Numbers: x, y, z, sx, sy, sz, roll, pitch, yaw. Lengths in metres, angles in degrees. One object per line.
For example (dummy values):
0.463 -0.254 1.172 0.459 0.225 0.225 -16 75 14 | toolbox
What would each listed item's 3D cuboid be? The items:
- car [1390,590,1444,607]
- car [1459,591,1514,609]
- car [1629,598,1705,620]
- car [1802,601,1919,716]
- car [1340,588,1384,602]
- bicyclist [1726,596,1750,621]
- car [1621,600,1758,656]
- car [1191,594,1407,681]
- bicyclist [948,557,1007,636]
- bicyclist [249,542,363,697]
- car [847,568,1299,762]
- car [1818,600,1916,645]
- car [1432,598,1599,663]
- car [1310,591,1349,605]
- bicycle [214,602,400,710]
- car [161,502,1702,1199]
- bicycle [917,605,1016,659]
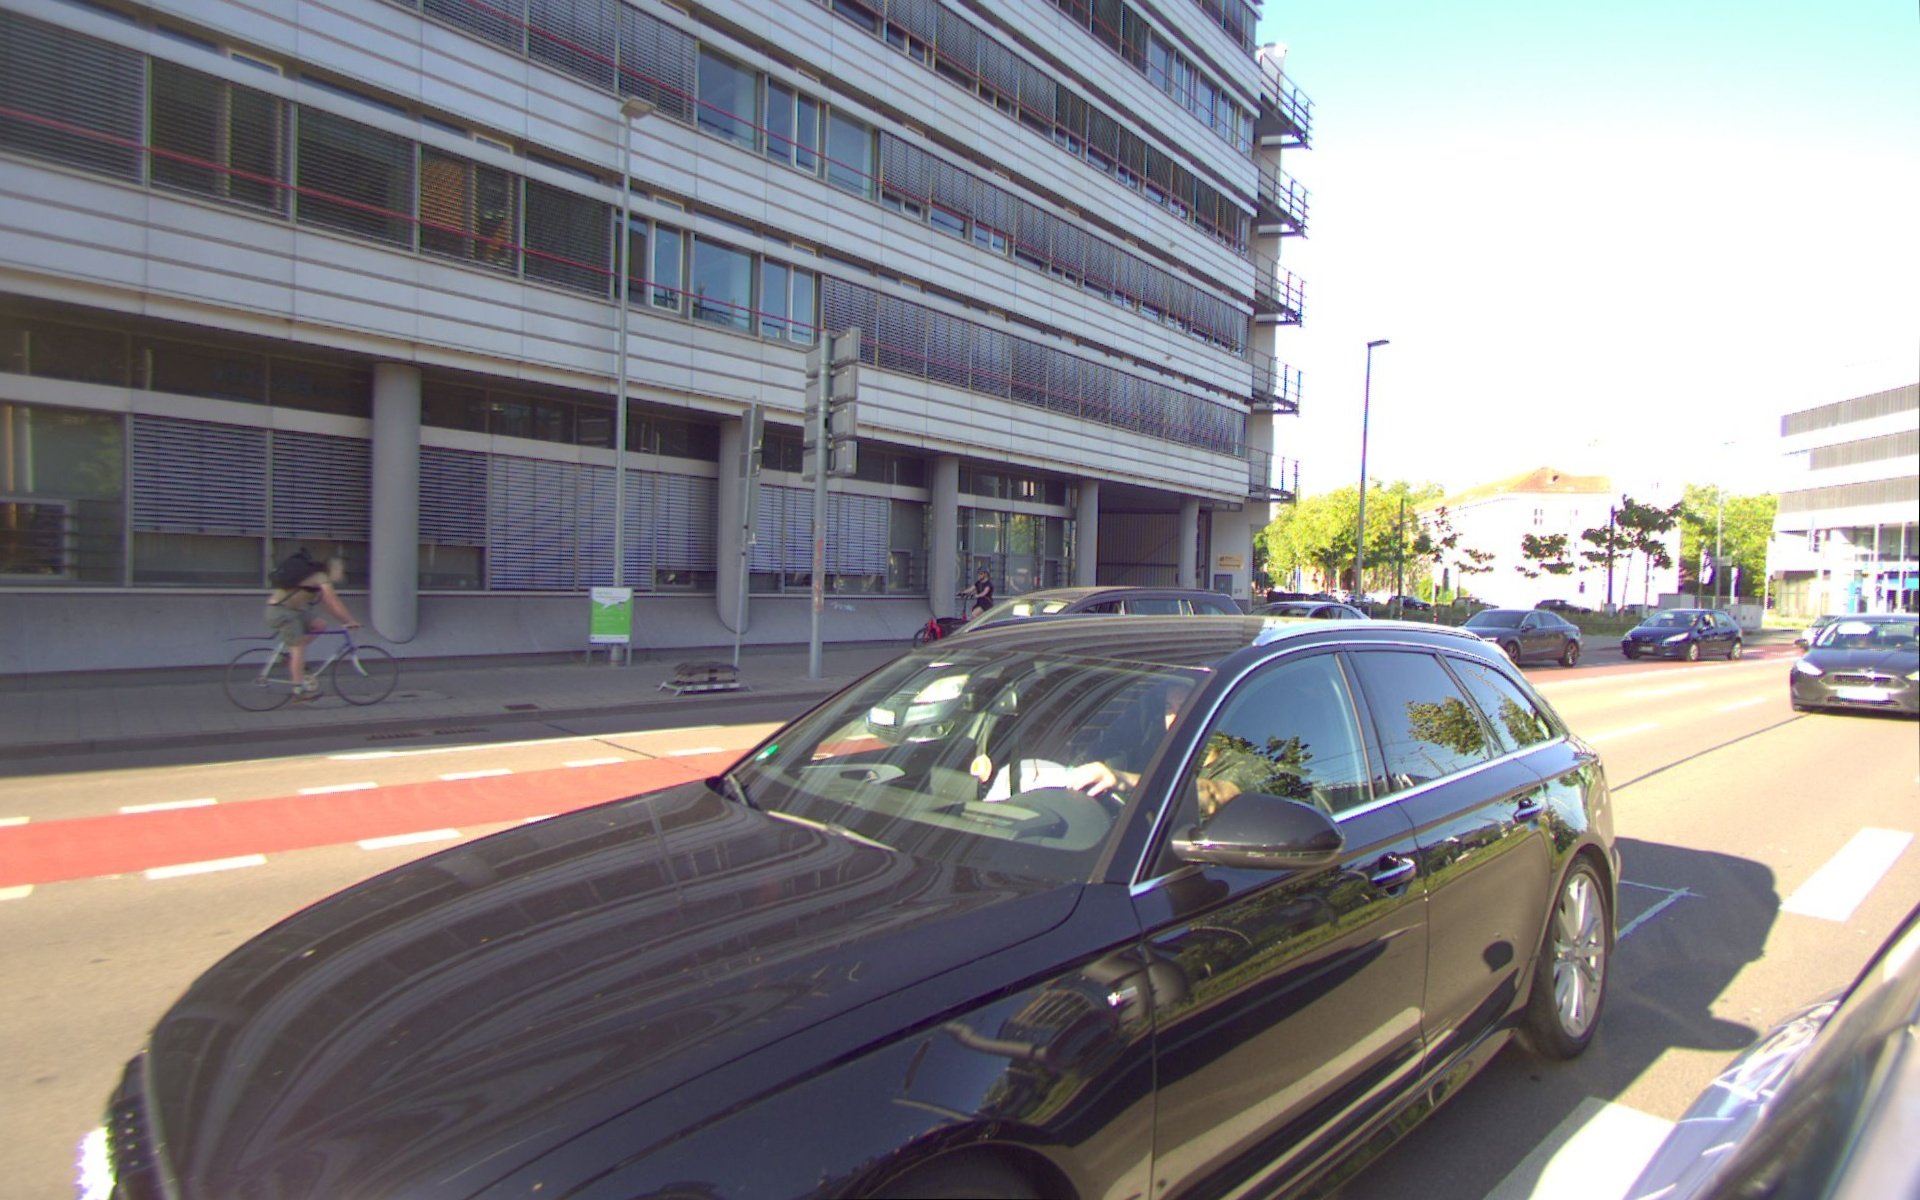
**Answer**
43.405 -0.164 96.175 1.958 1.440 4.536 1 1 -21 | car
46.435 0.018 89.358 1.958 1.440 4.008 1 1 -23 | car
52.893 0.656 75.797 1.958 1.440 4.304 1 1 -23 | car
14.098 0.782 15.050 4.079 1.451 1.689 -1 2 -40 | car
40.748 -0.529 102.666 1.958 1.259 4.009 1 1 -17 | car
53.028 0.566 69.012 0.862 1.627 1.009 1 1 -29 | bicyclist
21.238 0.764 29.453 3.920 1.463 1.739 -1 2 -30 | car
6.587 0.644 19.473 4.406 1.449 1.756 0 1 -38 | car
0.358 -0.080 20.862 1.024 1.586 0.626 1 1 -37 | bicyclist
-7.285 0.196 11.277 0.974 1.638 0.685 1 1 -41 | bicyclist
1.210 0.553 10.369 4.371 1.649 1.696 1 1 -27 | car
32.511 0.825 36.257 3.919 1.463 1.442 2 1 -30 | car
13.516 0.706 24.594 4.028 1.459 1.717 1 0 -30 | car
39.442 -0.231 108.120 1.894 1.393 4.009 1 1 -16 | car
-7.221 0.584 11.237 1.673 1.070 0.505 -1 4 -42 | bicycle
0.423 0.682 3.032 4.414 1.511 1.815 0 -1 -39 | car
0.157 0.629 20.756 2.165 1.045 0.500 0 1 -38 | bicycle
